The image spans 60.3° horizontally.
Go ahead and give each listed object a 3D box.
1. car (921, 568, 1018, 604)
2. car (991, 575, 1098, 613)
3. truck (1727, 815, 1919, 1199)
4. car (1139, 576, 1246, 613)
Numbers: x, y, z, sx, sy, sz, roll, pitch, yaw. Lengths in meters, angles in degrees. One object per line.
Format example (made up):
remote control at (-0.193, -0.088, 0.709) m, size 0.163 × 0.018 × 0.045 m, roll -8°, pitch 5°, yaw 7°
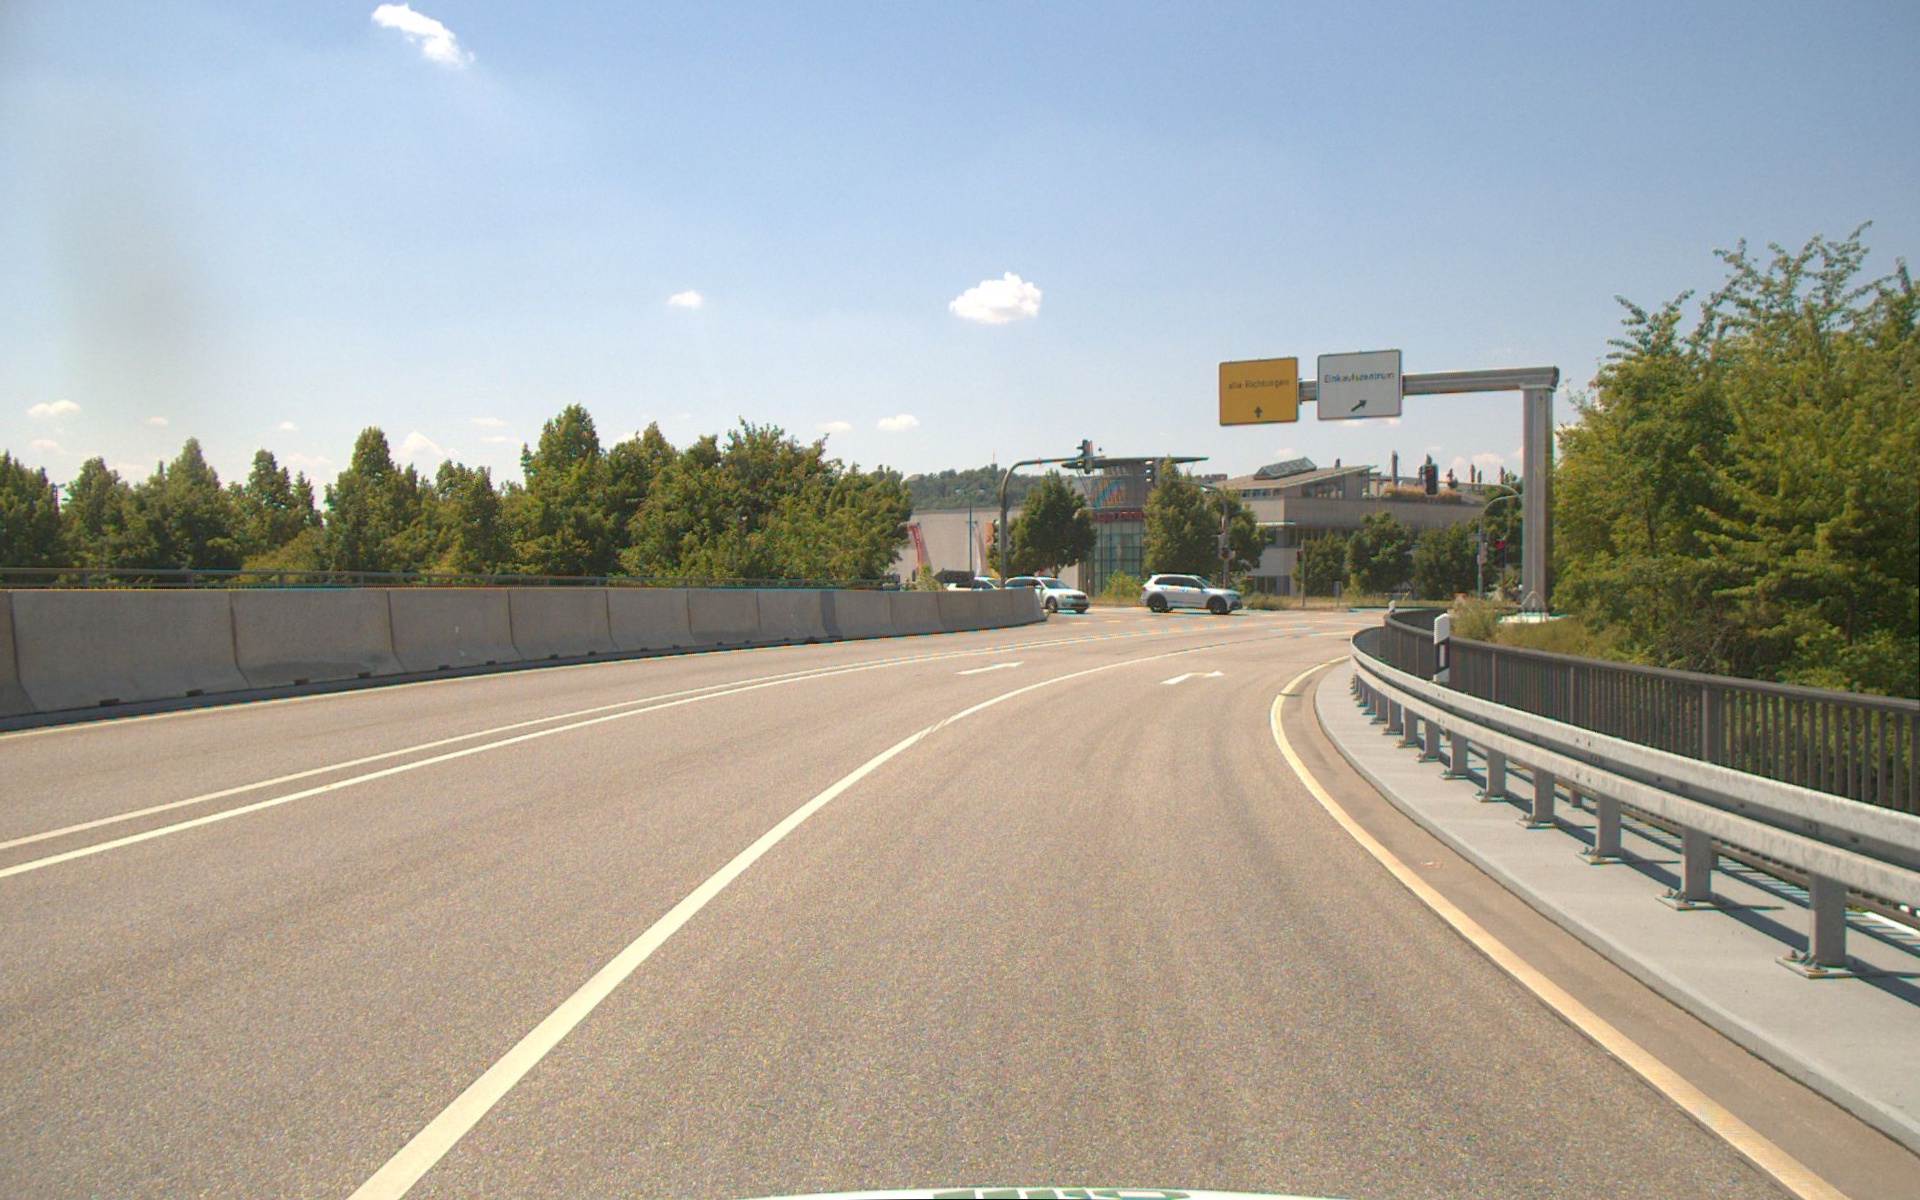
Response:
car at (0.430, -0.666, 76.772) m, size 4.044 × 1.512 × 1.997 m, roll 3°, pitch 2°, yaw 29°
car at (3.474, -0.272, 68.733) m, size 1.779 × 1.521 × 4.478 m, roll 0°, pitch 1°, yaw -44°
truck at (15.758, 5.305, 20.864) m, size 10.747 × 4.424 × 2.901 m, roll 0°, pitch 0°, yaw 18°
car at (10.074, -0.227, 71.620) m, size 4.291 × 1.532 × 2.000 m, roll 0°, pitch 0°, yaw 21°
